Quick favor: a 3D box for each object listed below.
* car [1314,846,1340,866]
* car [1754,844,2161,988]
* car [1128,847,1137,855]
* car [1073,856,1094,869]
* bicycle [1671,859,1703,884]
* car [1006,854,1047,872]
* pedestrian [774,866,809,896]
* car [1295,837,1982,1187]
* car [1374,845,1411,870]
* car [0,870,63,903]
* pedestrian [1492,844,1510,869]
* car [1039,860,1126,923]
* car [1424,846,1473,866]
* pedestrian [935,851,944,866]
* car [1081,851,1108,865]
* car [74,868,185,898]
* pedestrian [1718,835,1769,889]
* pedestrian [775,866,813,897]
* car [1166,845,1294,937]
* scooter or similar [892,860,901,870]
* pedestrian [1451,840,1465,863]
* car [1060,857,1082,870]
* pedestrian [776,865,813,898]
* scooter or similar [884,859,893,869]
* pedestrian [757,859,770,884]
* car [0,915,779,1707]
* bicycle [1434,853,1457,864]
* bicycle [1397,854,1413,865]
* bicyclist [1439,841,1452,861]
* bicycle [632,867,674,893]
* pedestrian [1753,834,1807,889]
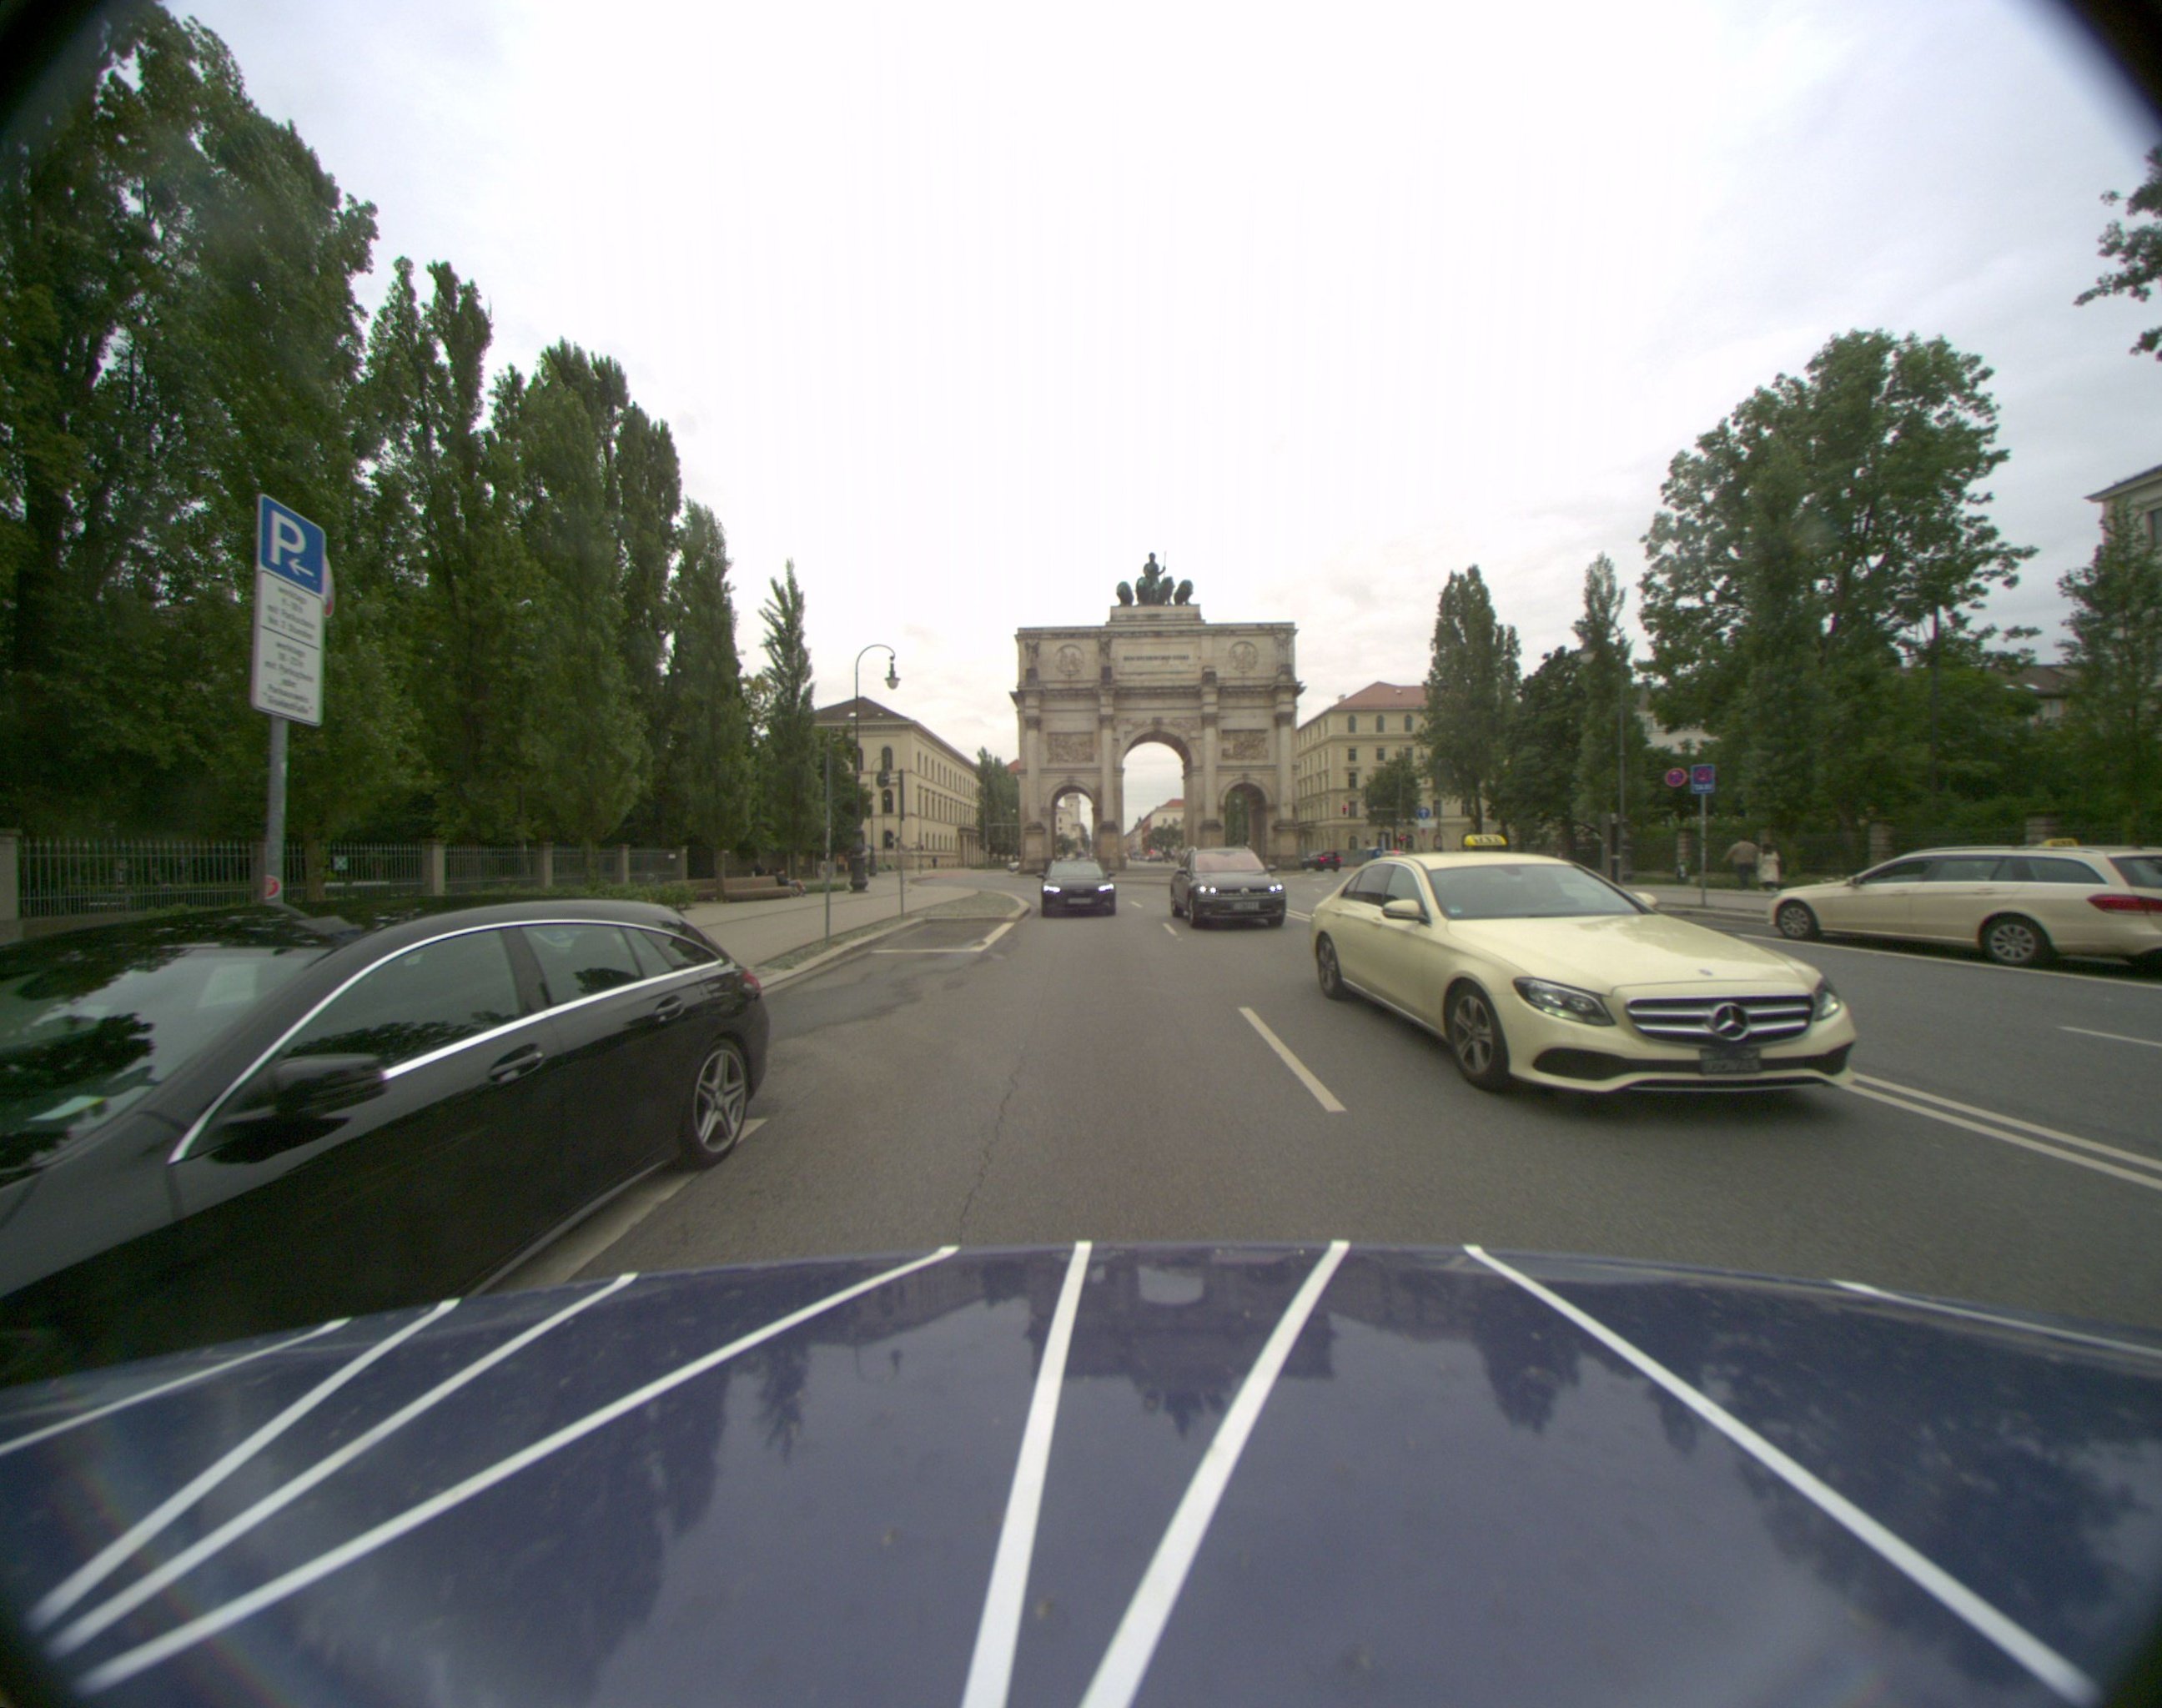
[{"bbox_3d":[21.926,0.170,67.824,1.784,1.662,4.003,-1,0,12],"label":"car"},{"bbox_3d":[12.390,0.644,10.555,1.822,1.550,4.858,1,1,1],"label":"car"},{"bbox_3d":[13.291,-0.705,197.189,1.998,2.002,4.395,-1,0,1],"label":"car"},{"bbox_3d":[0.384,1.201,108.581,1.785,1.739,4.326,-1,0,18],"label":"car"},{"bbox_3d":[27.088,0.779,33.953,1.742,1.058,0.635,-1,1,-36],"label":"bicycle"},{"bbox_3d":[-6.152,1.022,85.920,4.321,1.846,1.886,-2,1,-43],"label":"car"},{"bbox_3d":[-12.300,1.133,32.282,1.268,1.209,0.574,-2,1,-28],"label":"pedestrian"},{"bbox_3d":[3.295,0.724,5.926,1.919,1.566,4.689,-3,1,1],"label":"car"},{"bbox_3d":[24.332,0.213,59.536,2.002,1.844,4.995,1,1,14],"label":"car"},{"bbox_3d":[-56.256,1.721,39.460,4.464,1.565,2.001,-2,1,6],"label":"car"},{"bbox_3d":[30.443,0.154,55.049,0.917,1.775,0.752,-1,1,-33],"label":"pedestrian"},{"bbox_3d":[-0.084,0.900,20.181,1.923,1.320,4.409,-3,1,-4],"label":"car"},{"bbox_3d":[37.850,0.177,78.321,3.996,2.002,2.000,-1,1,1],"label":"car"},{"bbox_3d":[-18.915,0.563,101.417,0.944,2.002,1.003,-1,1,3],"label":"pedestrian"},{"bbox_3d":[1.760,0.531,97.484,1.784,1.739,4.327,-1,0,24],"label":"car"},{"bbox_3d":[-55.056,1.663,44.001,4.261,1.565,1.952,-2,1,6],"label":"car"},{"bbox_3d":[21.203,0.251,24.344,0.846,1.668,0.967,-1,1,8],"label":"pedestrian"},{"bbox_3d":[-11.961,1.137,31.639,1.371,1.200,0.806,-2,1,-27],"label":"pedestrian"},{"bbox_3d":[3.030,0.670,16.382,1.953,1.615,4.411,-3,1,2],"label":"car"},{"bbox_3d":[-22.030,1.348,90.879,0.567,1.135,1.657,-1,0,3],"label":"scooter or similar"},{"bbox_3d":[32.933,-0.206,66.408,0.796,2.002,0.754,-1,1,-33],"label":"pedestrian"},{"bbox_3d":[-1.333,1.291,103.345,1.785,1.739,4.326,-1,0,18],"label":"car"},{"bbox_3d":[-11.552,1.092,30.607,1.331,1.267,0.807,-2,1,-21],"label":"pedestrian"},{"bbox_3d":[-22.981,1.216,90.745,0.567,1.135,1.657,-1,0,3],"label":"scooter or similar"},{"bbox_3d":[-20.977,1.141,50.200,0.591,1.610,0.536,-2,1,2],"label":"pedestrian"},{"bbox_3d":[-2.689,1.020,2.151,1.739,1.302,4.370,-1,0,3],"label":"car"},{"bbox_3d":[32.050,0.421,66.795,0.645,0.968,1.757,-1,0,-32],"label":"bicycle"},{"bbox_3d":[30.562,0.523,71.659,0.643,0.968,1.761,-1,0,-3],"label":"bicycle"},{"bbox_3d":[32.041,-0.249,66.774,0.645,1.700,0.858,-1,1,-33],"label":"bicyclist"},{"bbox_3d":[-22.084,1.336,39.287,0.674,1.232,2.998,0,0,-4],"label":"bicycle"},{"bbox_3d":[22.022,0.229,23.964,0.846,1.668,0.967,-1,1,8],"label":"pedestrian"}]
